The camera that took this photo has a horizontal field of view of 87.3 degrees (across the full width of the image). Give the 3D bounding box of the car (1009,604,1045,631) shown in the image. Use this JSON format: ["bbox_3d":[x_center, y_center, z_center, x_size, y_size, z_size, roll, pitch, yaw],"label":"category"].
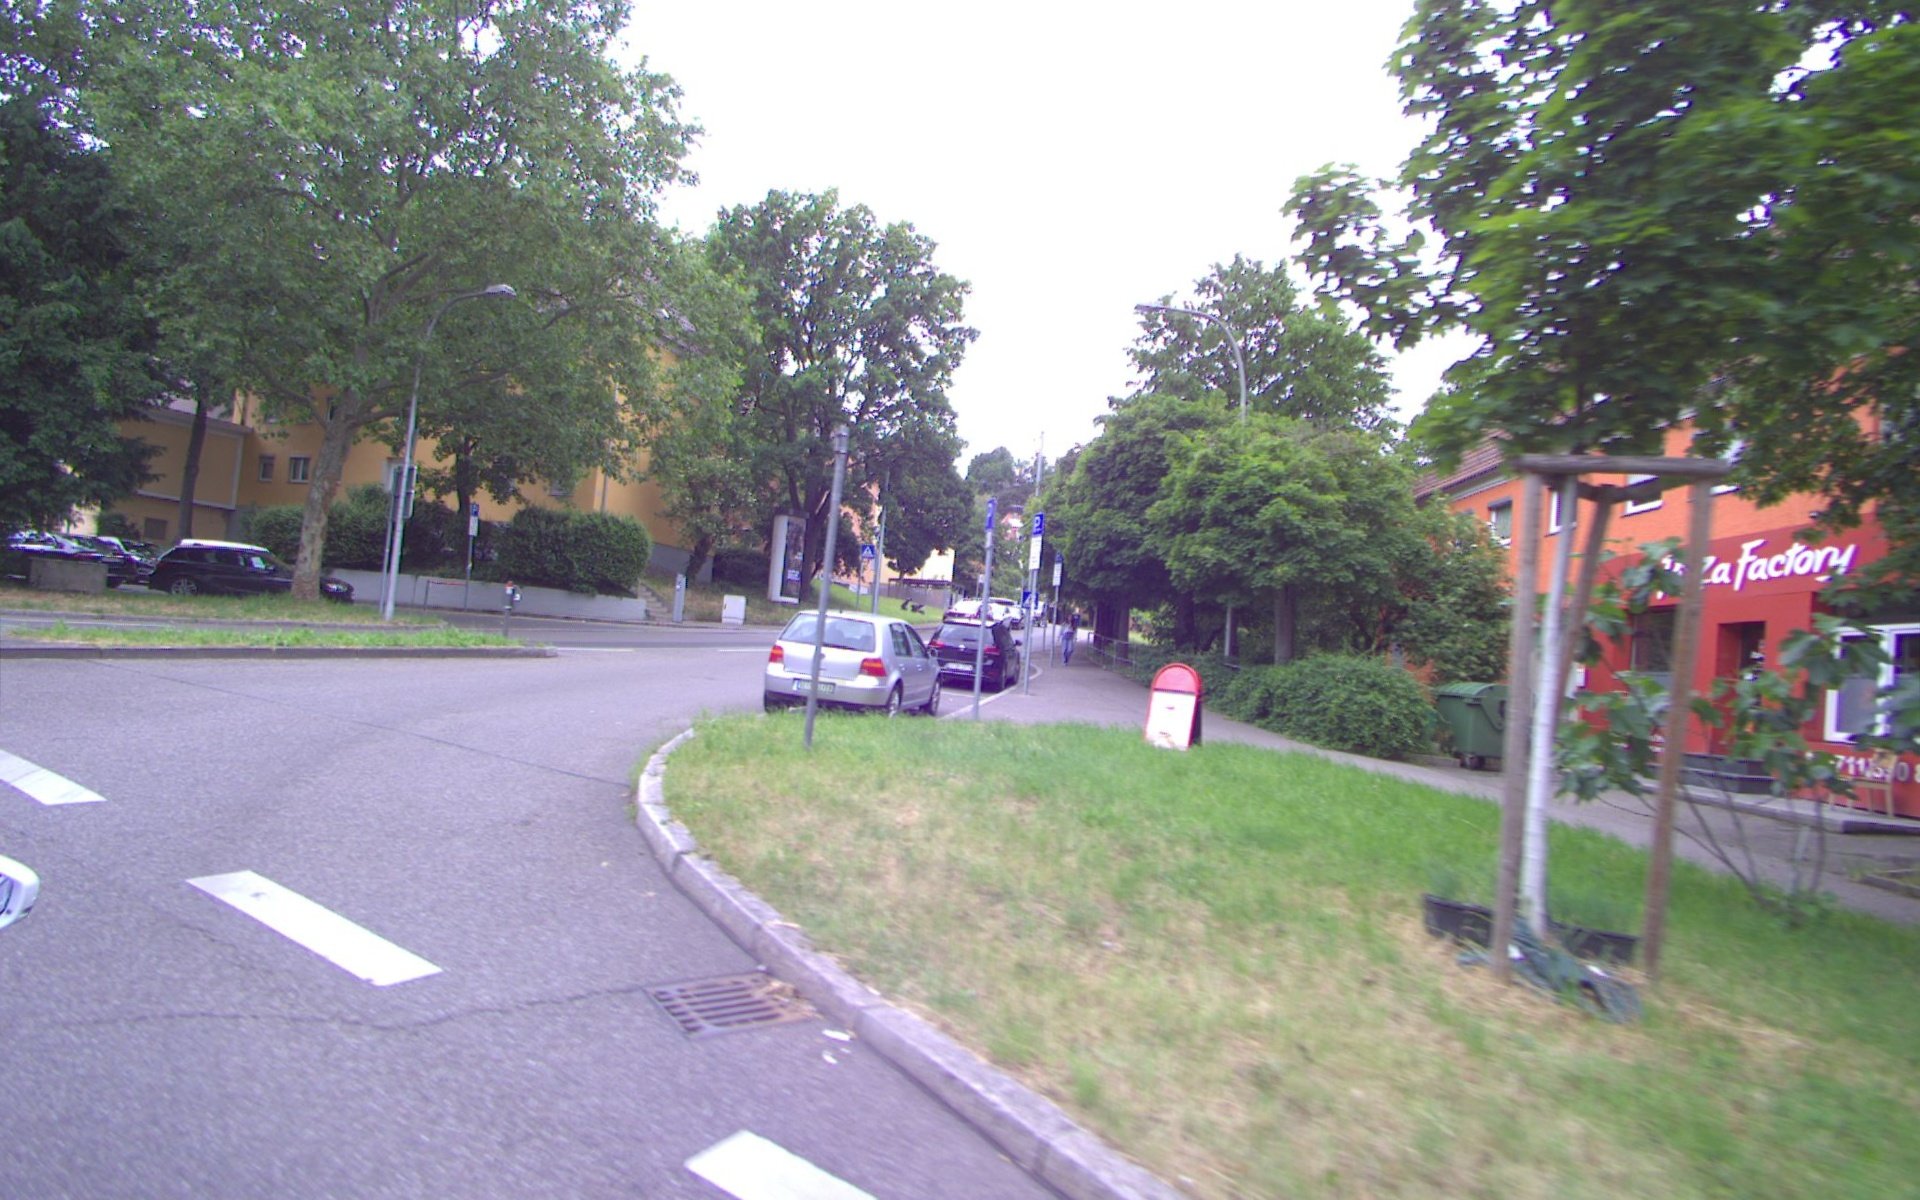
[{"bbox_3d":[4.961,1.336,73.793,1.912,1.605,4.004,7,-2,12],"label":"car"}]

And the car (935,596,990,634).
[{"bbox_3d":[0.188,0.826,52.612,1.912,1.605,4.004,7,-2,12],"label":"car"}]

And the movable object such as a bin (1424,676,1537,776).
[{"bbox_3d":[8.764,2.099,16.990,1.219,1.468,1.082,6,0,0],"label":"movable object such as a bin"}]

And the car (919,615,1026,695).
[{"bbox_3d":[0.383,1.165,22.300,1.704,1.446,4.133,6,-1,8],"label":"car"}]

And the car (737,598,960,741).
[{"bbox_3d":[-1.357,0.889,14.084,1.827,1.445,4.133,8,0,10],"label":"car"}]

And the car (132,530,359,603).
[{"bbox_3d":[-17.930,-0.840,25.525,4.365,1.505,1.852,3,2,-24],"label":"car"}]

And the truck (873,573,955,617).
[{"bbox_3d":[-3.597,-0.387,78.430,5.887,2.766,2.000,7,0,21],"label":"truck"}]

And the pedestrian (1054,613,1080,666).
[{"bbox_3d":[3.277,1.191,30.736,0.664,1.564,0.493,3,0,1],"label":"pedestrian"}]

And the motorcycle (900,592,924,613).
[{"bbox_3d":[-2.956,0.137,61.765,1.339,1.151,0.620,6,0,2],"label":"motorcycle"}]

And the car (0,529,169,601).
[{"bbox_3d":[-25.902,-1.046,29.217,4.811,1.597,2.002,5,-1,14],"label":"car"}]

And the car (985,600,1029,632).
[{"bbox_3d":[2.929,1.008,62.343,1.912,1.605,4.004,7,-2,12],"label":"car"}]

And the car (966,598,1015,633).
[{"bbox_3d":[1.792,0.913,57.486,1.912,1.605,4.004,7,-2,12],"label":"car"}]
